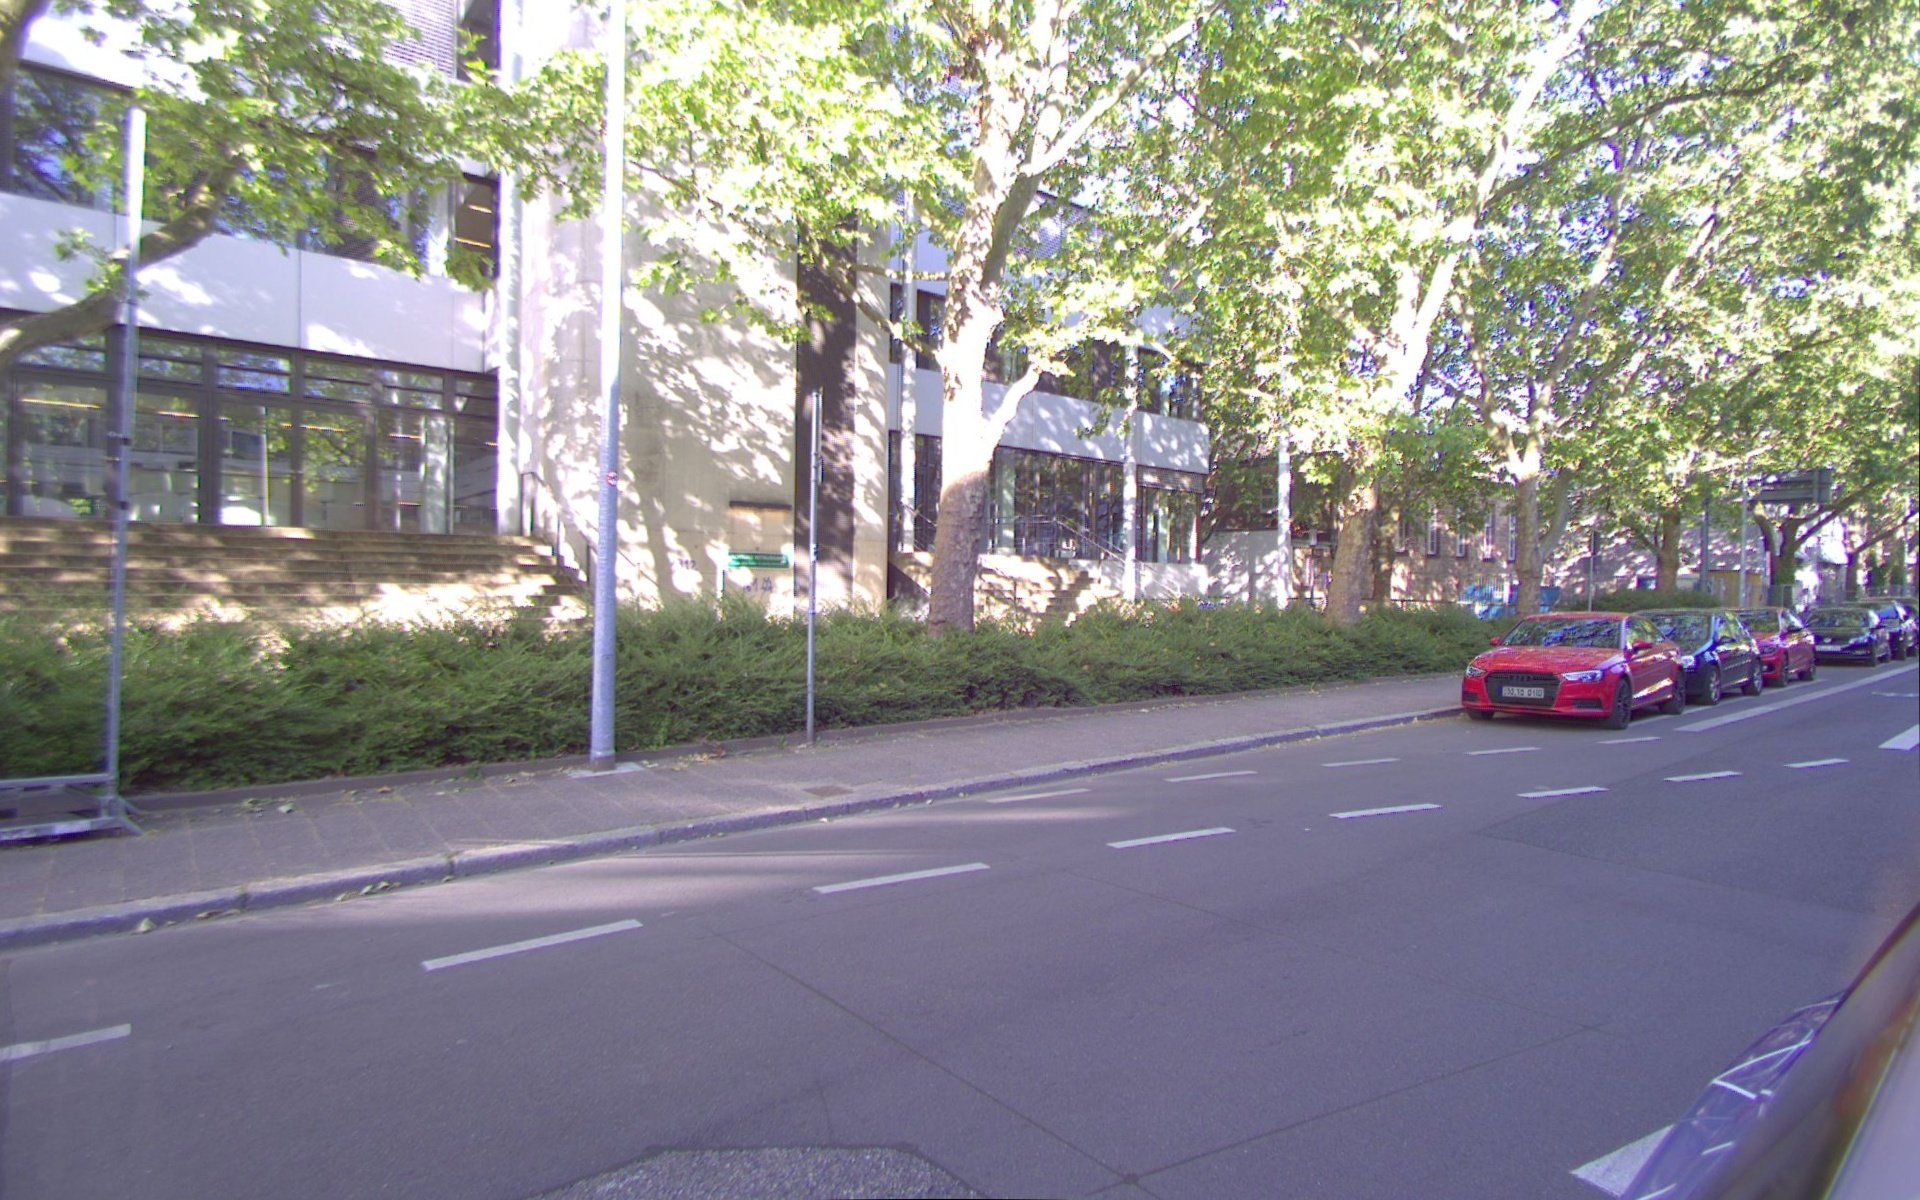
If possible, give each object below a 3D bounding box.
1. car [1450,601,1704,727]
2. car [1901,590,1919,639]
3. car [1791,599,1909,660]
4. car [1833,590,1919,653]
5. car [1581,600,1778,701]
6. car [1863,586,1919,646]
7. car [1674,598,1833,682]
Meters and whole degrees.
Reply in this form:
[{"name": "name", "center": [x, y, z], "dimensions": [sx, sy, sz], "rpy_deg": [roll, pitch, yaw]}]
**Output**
[{"name": "car", "center": [8.269, 0.741, 13.439], "dimensions": [3.930, 1.427, 1.753], "rpy_deg": [0, -1, -41]}, {"name": "car", "center": [36.189, 0.517, 37.257], "dimensions": [4.370, 1.750, 1.753], "rpy_deg": [0, -1, -41]}, {"name": "car", "center": [22.942, 0.717, 26.058], "dimensions": [3.841, 1.451, 1.753], "rpy_deg": [0, -1, -41]}, {"name": "car", "center": [26.709, 0.587, 29.170], "dimensions": [4.101, 1.674, 1.753], "rpy_deg": [0, -1, -41]}, {"name": "car", "center": [11.845, 0.739, 16.583], "dimensions": [3.841, 1.451, 1.753], "rpy_deg": [0, -1, -41]}, {"name": "car", "center": [30.966, 0.487, 32.961], "dimensions": [4.370, 1.843, 1.753], "rpy_deg": [0, -1, -41]}, {"name": "car", "center": [15.697, 0.721, 19.960], "dimensions": [3.841, 1.486, 1.753], "rpy_deg": [0, -1, -41]}]
